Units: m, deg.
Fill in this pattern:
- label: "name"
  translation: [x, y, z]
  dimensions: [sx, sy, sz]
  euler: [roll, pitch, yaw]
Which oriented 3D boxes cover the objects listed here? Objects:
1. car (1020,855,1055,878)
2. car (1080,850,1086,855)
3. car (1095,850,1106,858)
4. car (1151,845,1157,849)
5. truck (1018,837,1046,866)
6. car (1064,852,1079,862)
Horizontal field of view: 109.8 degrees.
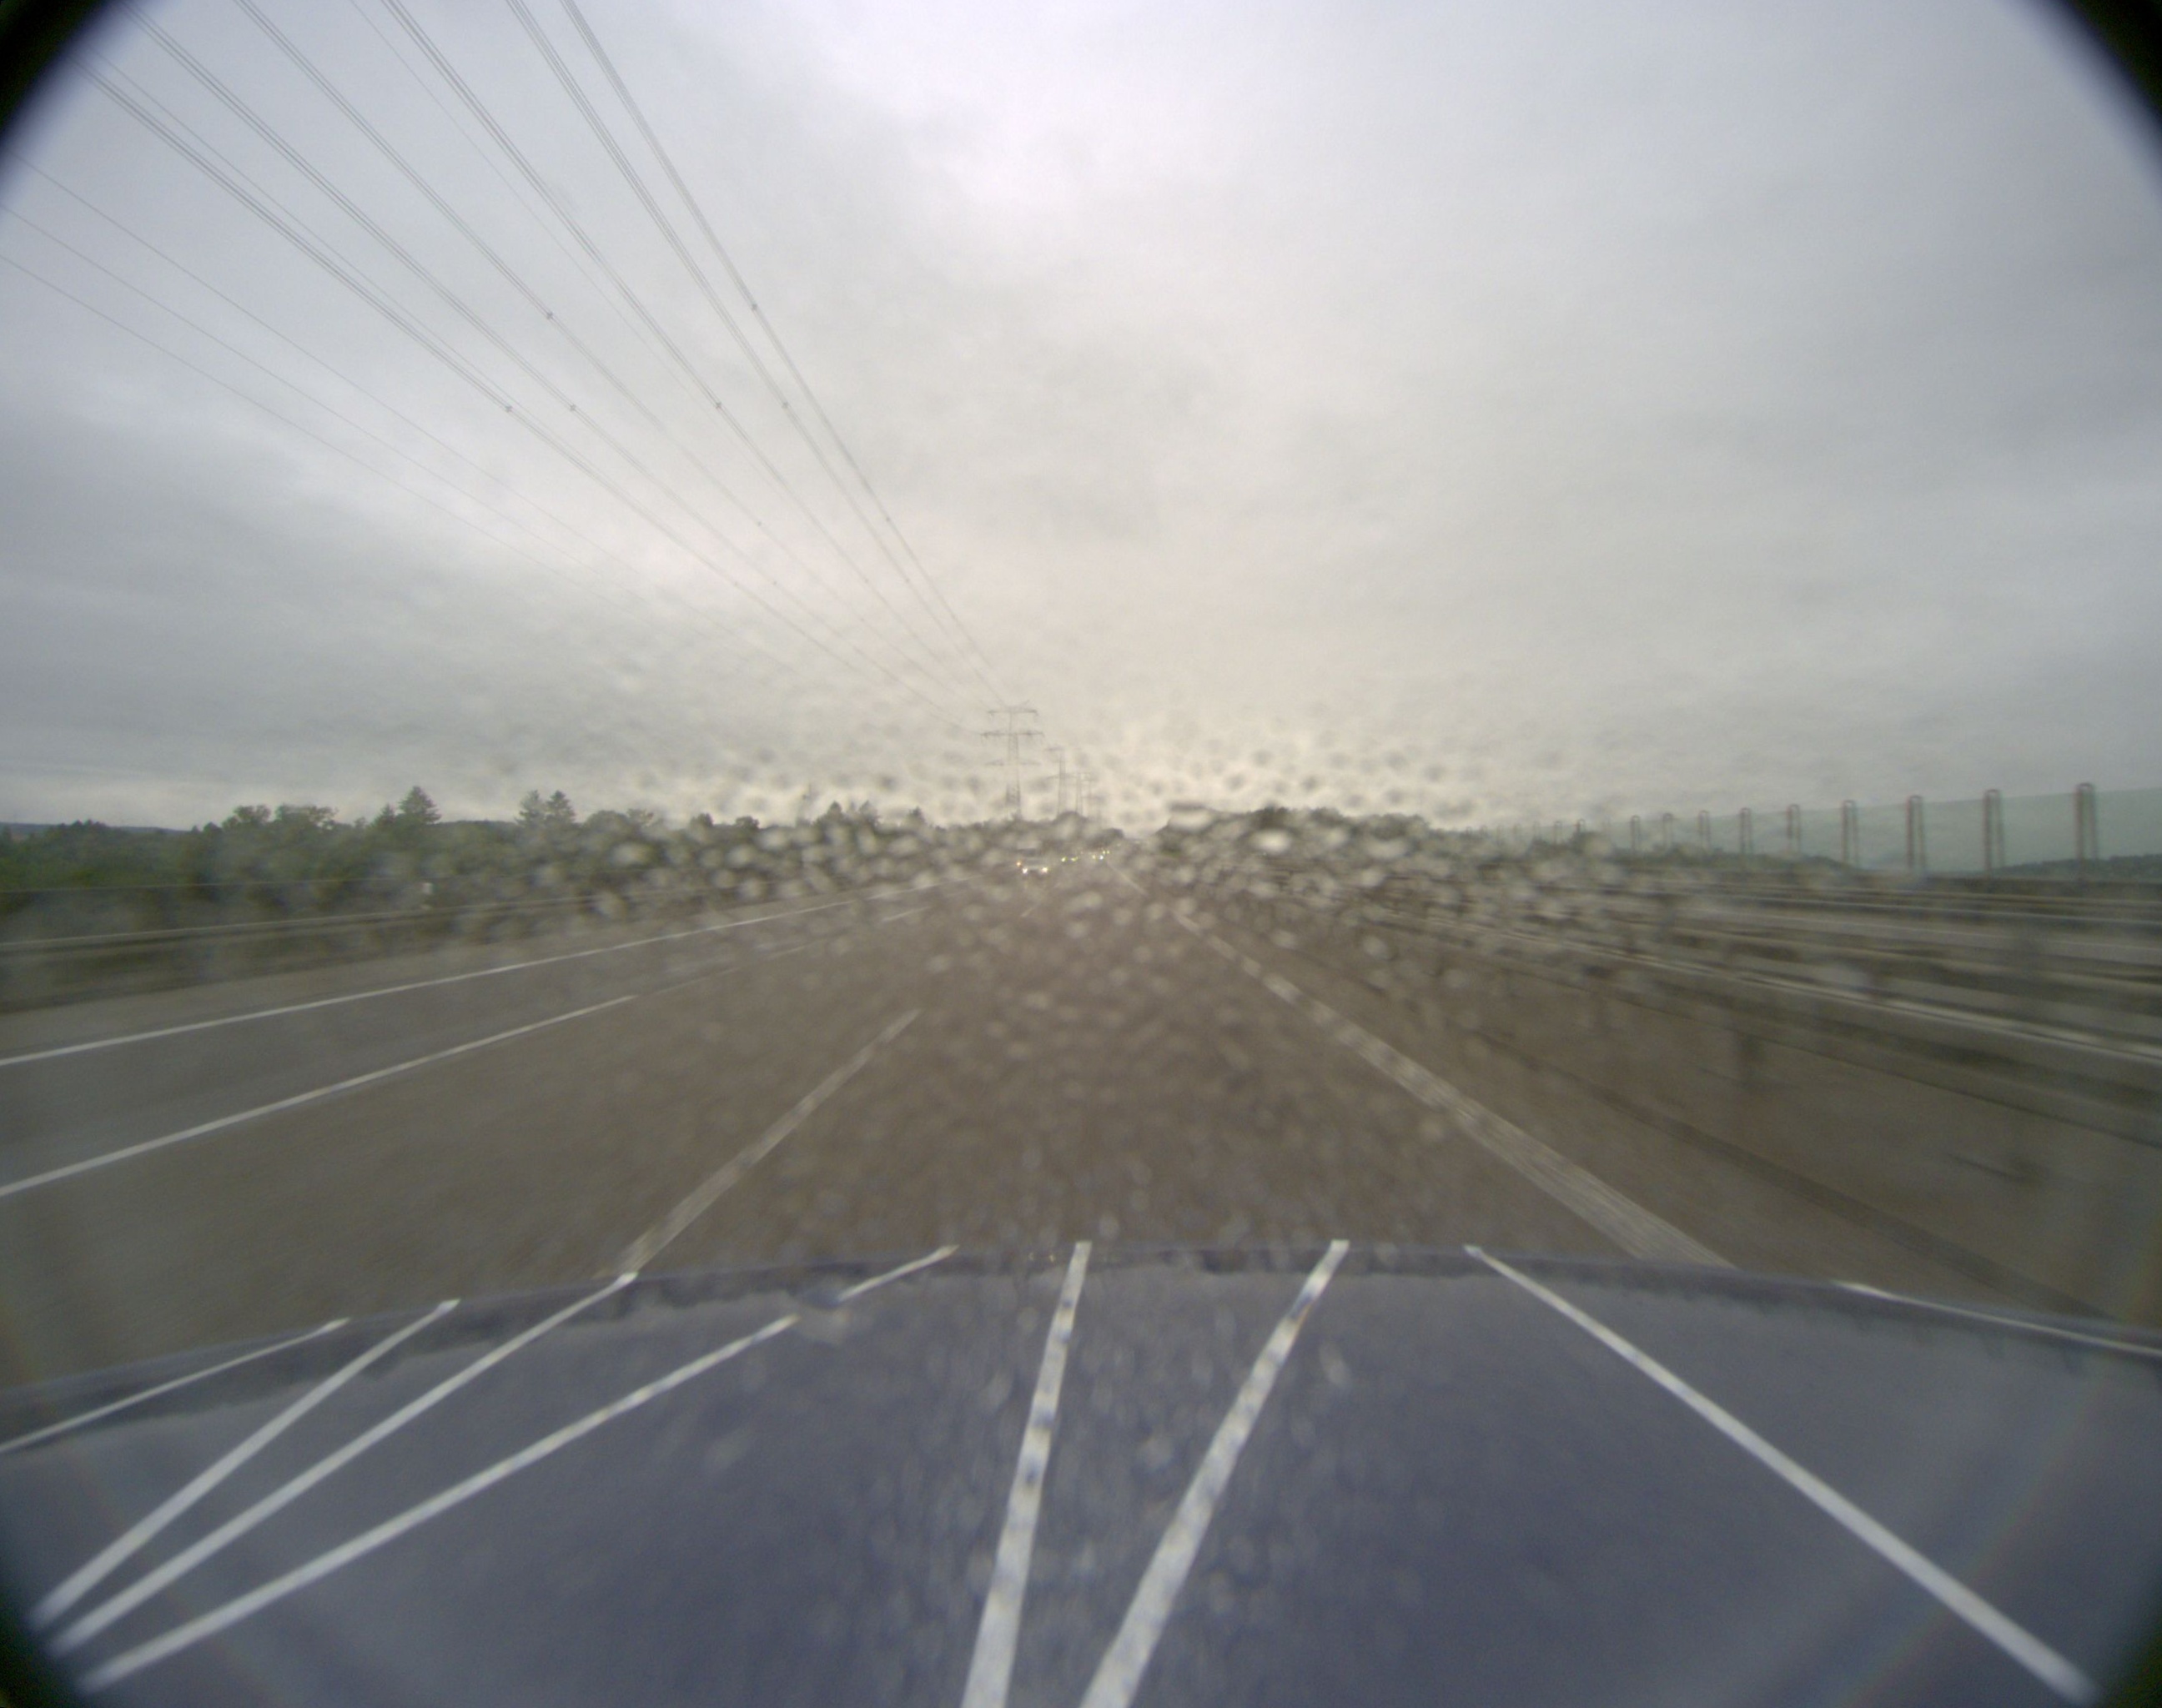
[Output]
- label: "car"
  translation: [-2.885, 0.824, 51.496]
  dimensions: [1.998, 1.418, 4.000]
  euler: [-1, 0, 2]
- label: "car"
  translation: [0.571, -0.607, 250.988]
  dimensions: [1.783, 1.482, 4.000]
  euler: [-1, 0, 2]
- label: "car"
  translation: [3.754, -0.046, 143.570]
  dimensions: [1.998, 1.418, 4.000]
  euler: [-1, 0, 2]
- label: "car"
  translation: [24.651, -2.370, 256.376]
  dimensions: [1.688, 1.488, 3.860]
  euler: [-1, 0, 2]
- label: "truck"
  translation: [-5.810, -0.328, 90.485]
  dimensions: [2.649, 3.325, 6.931]
  euler: [-1, 0, 2]
- label: "car"
  translation: [-1.307, 0.436, 107.893]
  dimensions: [1.998, 1.418, 4.000]
  euler: [-1, 0, 2]
